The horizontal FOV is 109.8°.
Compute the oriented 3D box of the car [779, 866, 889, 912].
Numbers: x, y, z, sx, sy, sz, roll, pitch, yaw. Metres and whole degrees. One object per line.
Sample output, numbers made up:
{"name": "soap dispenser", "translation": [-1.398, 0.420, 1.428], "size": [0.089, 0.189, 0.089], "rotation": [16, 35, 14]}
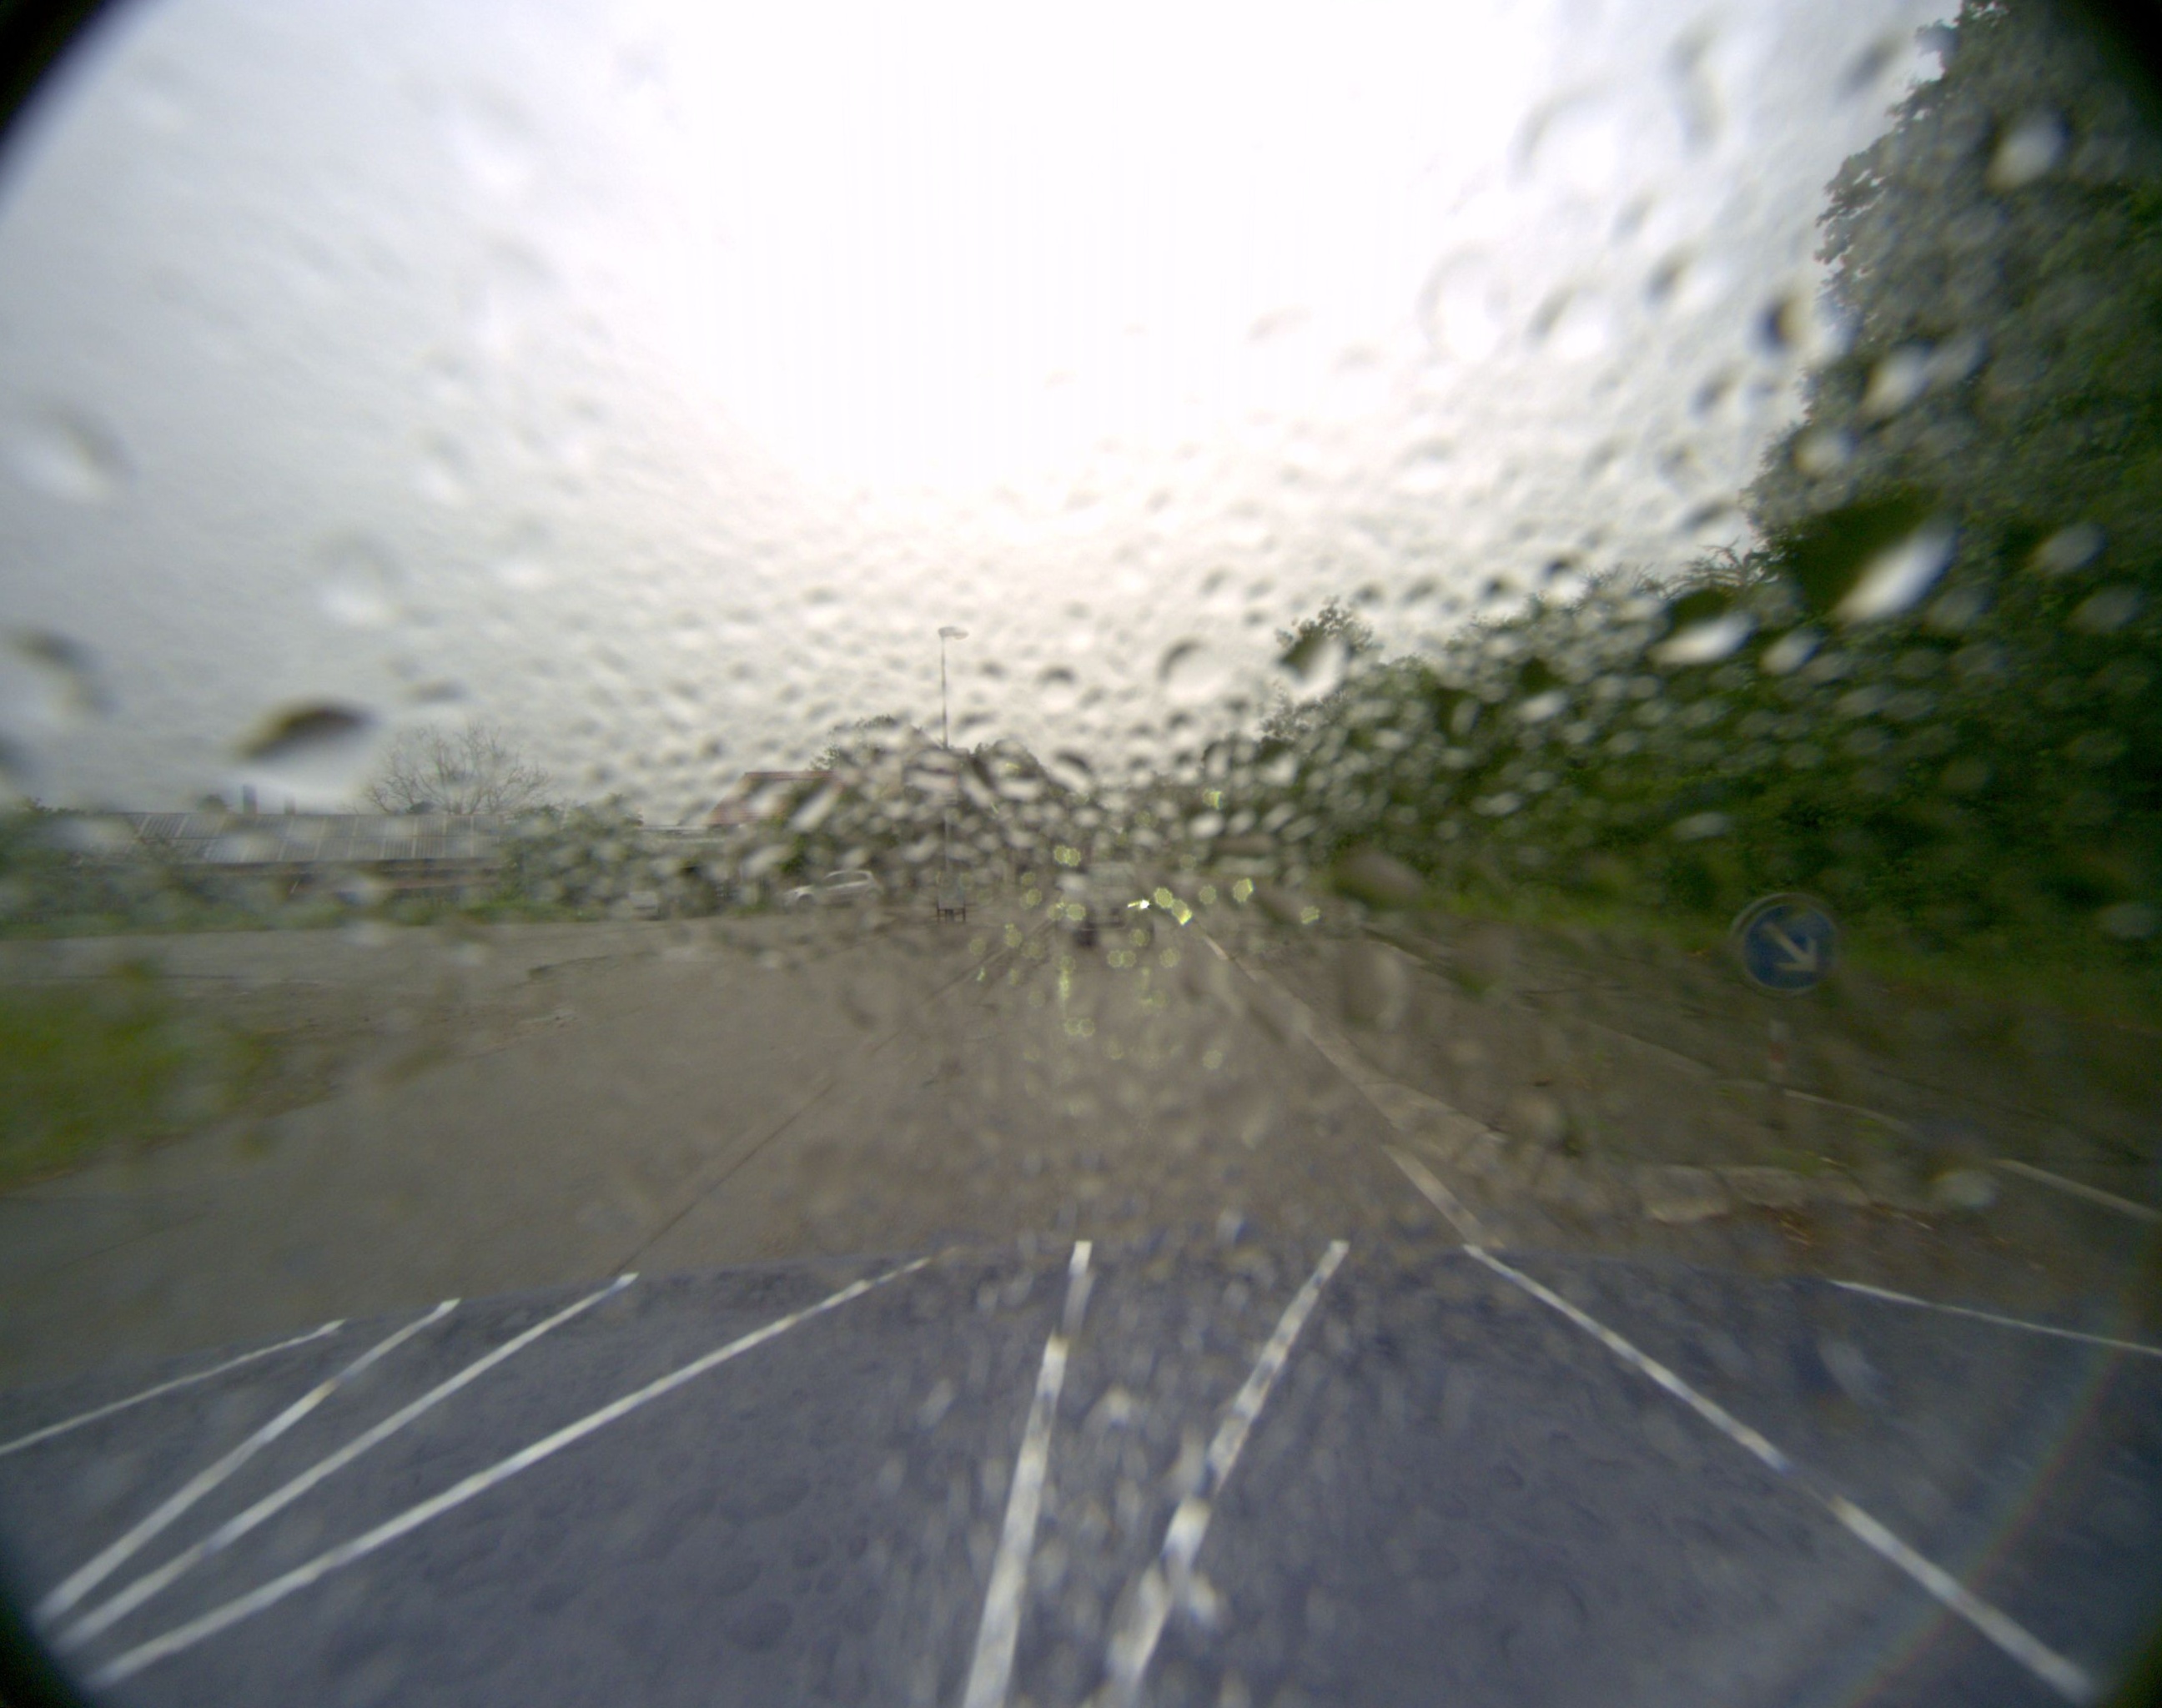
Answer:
{"name": "car", "translation": [-9.913, 1.370, 30.506], "size": [3.862, 1.523, 1.715], "rotation": [-3, 1, -29]}

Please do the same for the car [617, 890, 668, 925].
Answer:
{"name": "car", "translation": [-24.956, 2.987, 43.203], "size": [1.937, 1.674, 3.990], "rotation": [-3, 1, -37]}

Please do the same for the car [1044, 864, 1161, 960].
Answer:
{"name": "car", "translation": [0.471, 0.944, 14.197], "size": [1.766, 1.316, 4.550], "rotation": [-3, 0, 3]}
